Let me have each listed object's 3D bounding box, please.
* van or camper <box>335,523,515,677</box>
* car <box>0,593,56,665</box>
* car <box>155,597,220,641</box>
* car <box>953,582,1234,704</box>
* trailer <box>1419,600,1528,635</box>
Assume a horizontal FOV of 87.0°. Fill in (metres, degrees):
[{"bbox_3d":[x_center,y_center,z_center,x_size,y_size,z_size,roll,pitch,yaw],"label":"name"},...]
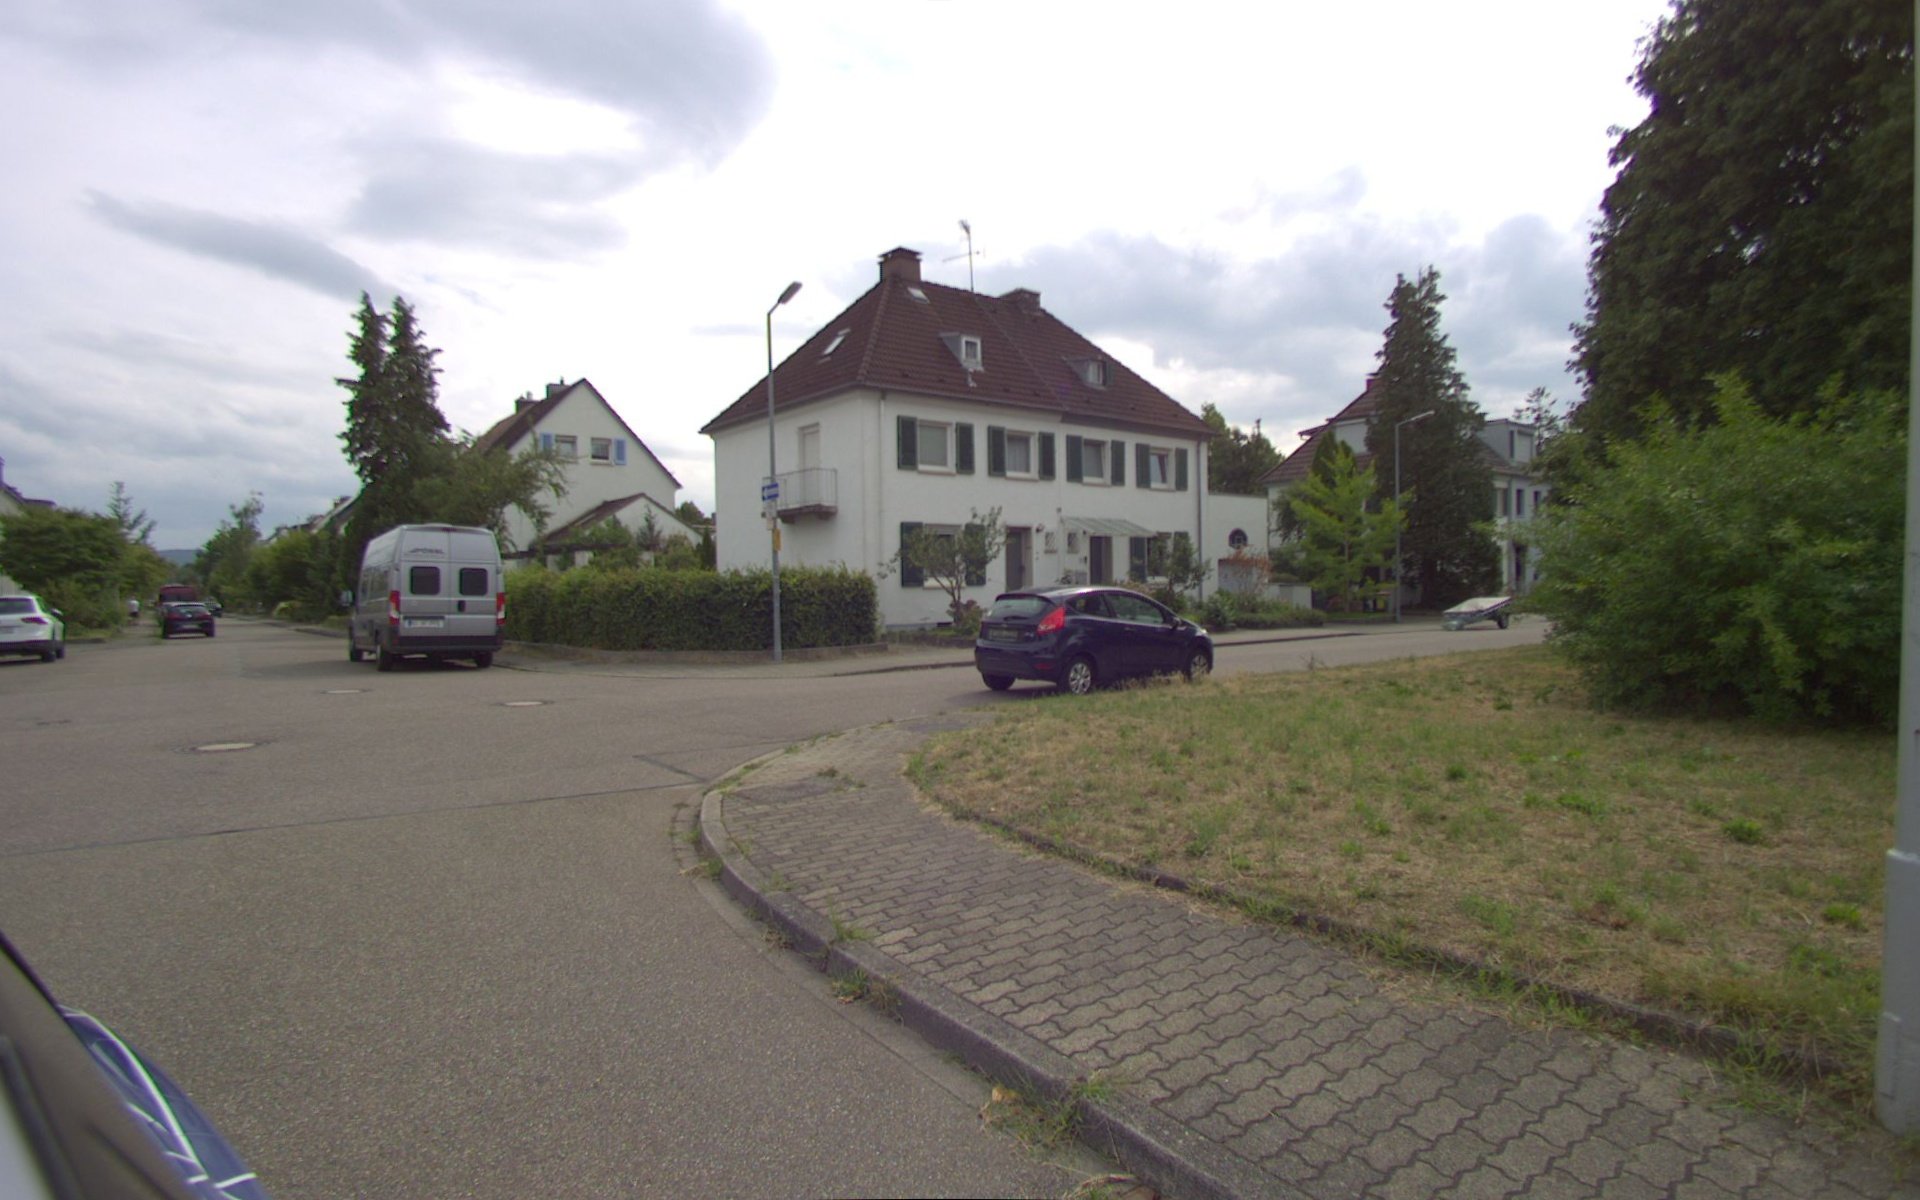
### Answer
[{"bbox_3d":[-11.260,-0.011,21.026,2.310,2.755,5.759,-1,0,-38],"label":"van or camper"},{"bbox_3d":[-22.852,0.661,24.062,1.969,1.611,4.005,-1,1,-42],"label":"car"},{"bbox_3d":[-32.391,0.747,42.525,1.967,1.719,4.010,-1,0,-35],"label":"car"},{"bbox_3d":[1.941,0.500,14.118,3.823,1.452,1.725,-1,0,-39],"label":"car"},{"bbox_3d":[15.863,0.505,31.269,2.710,0.971,2.005,-1,1,-36],"label":"trailer"}]
